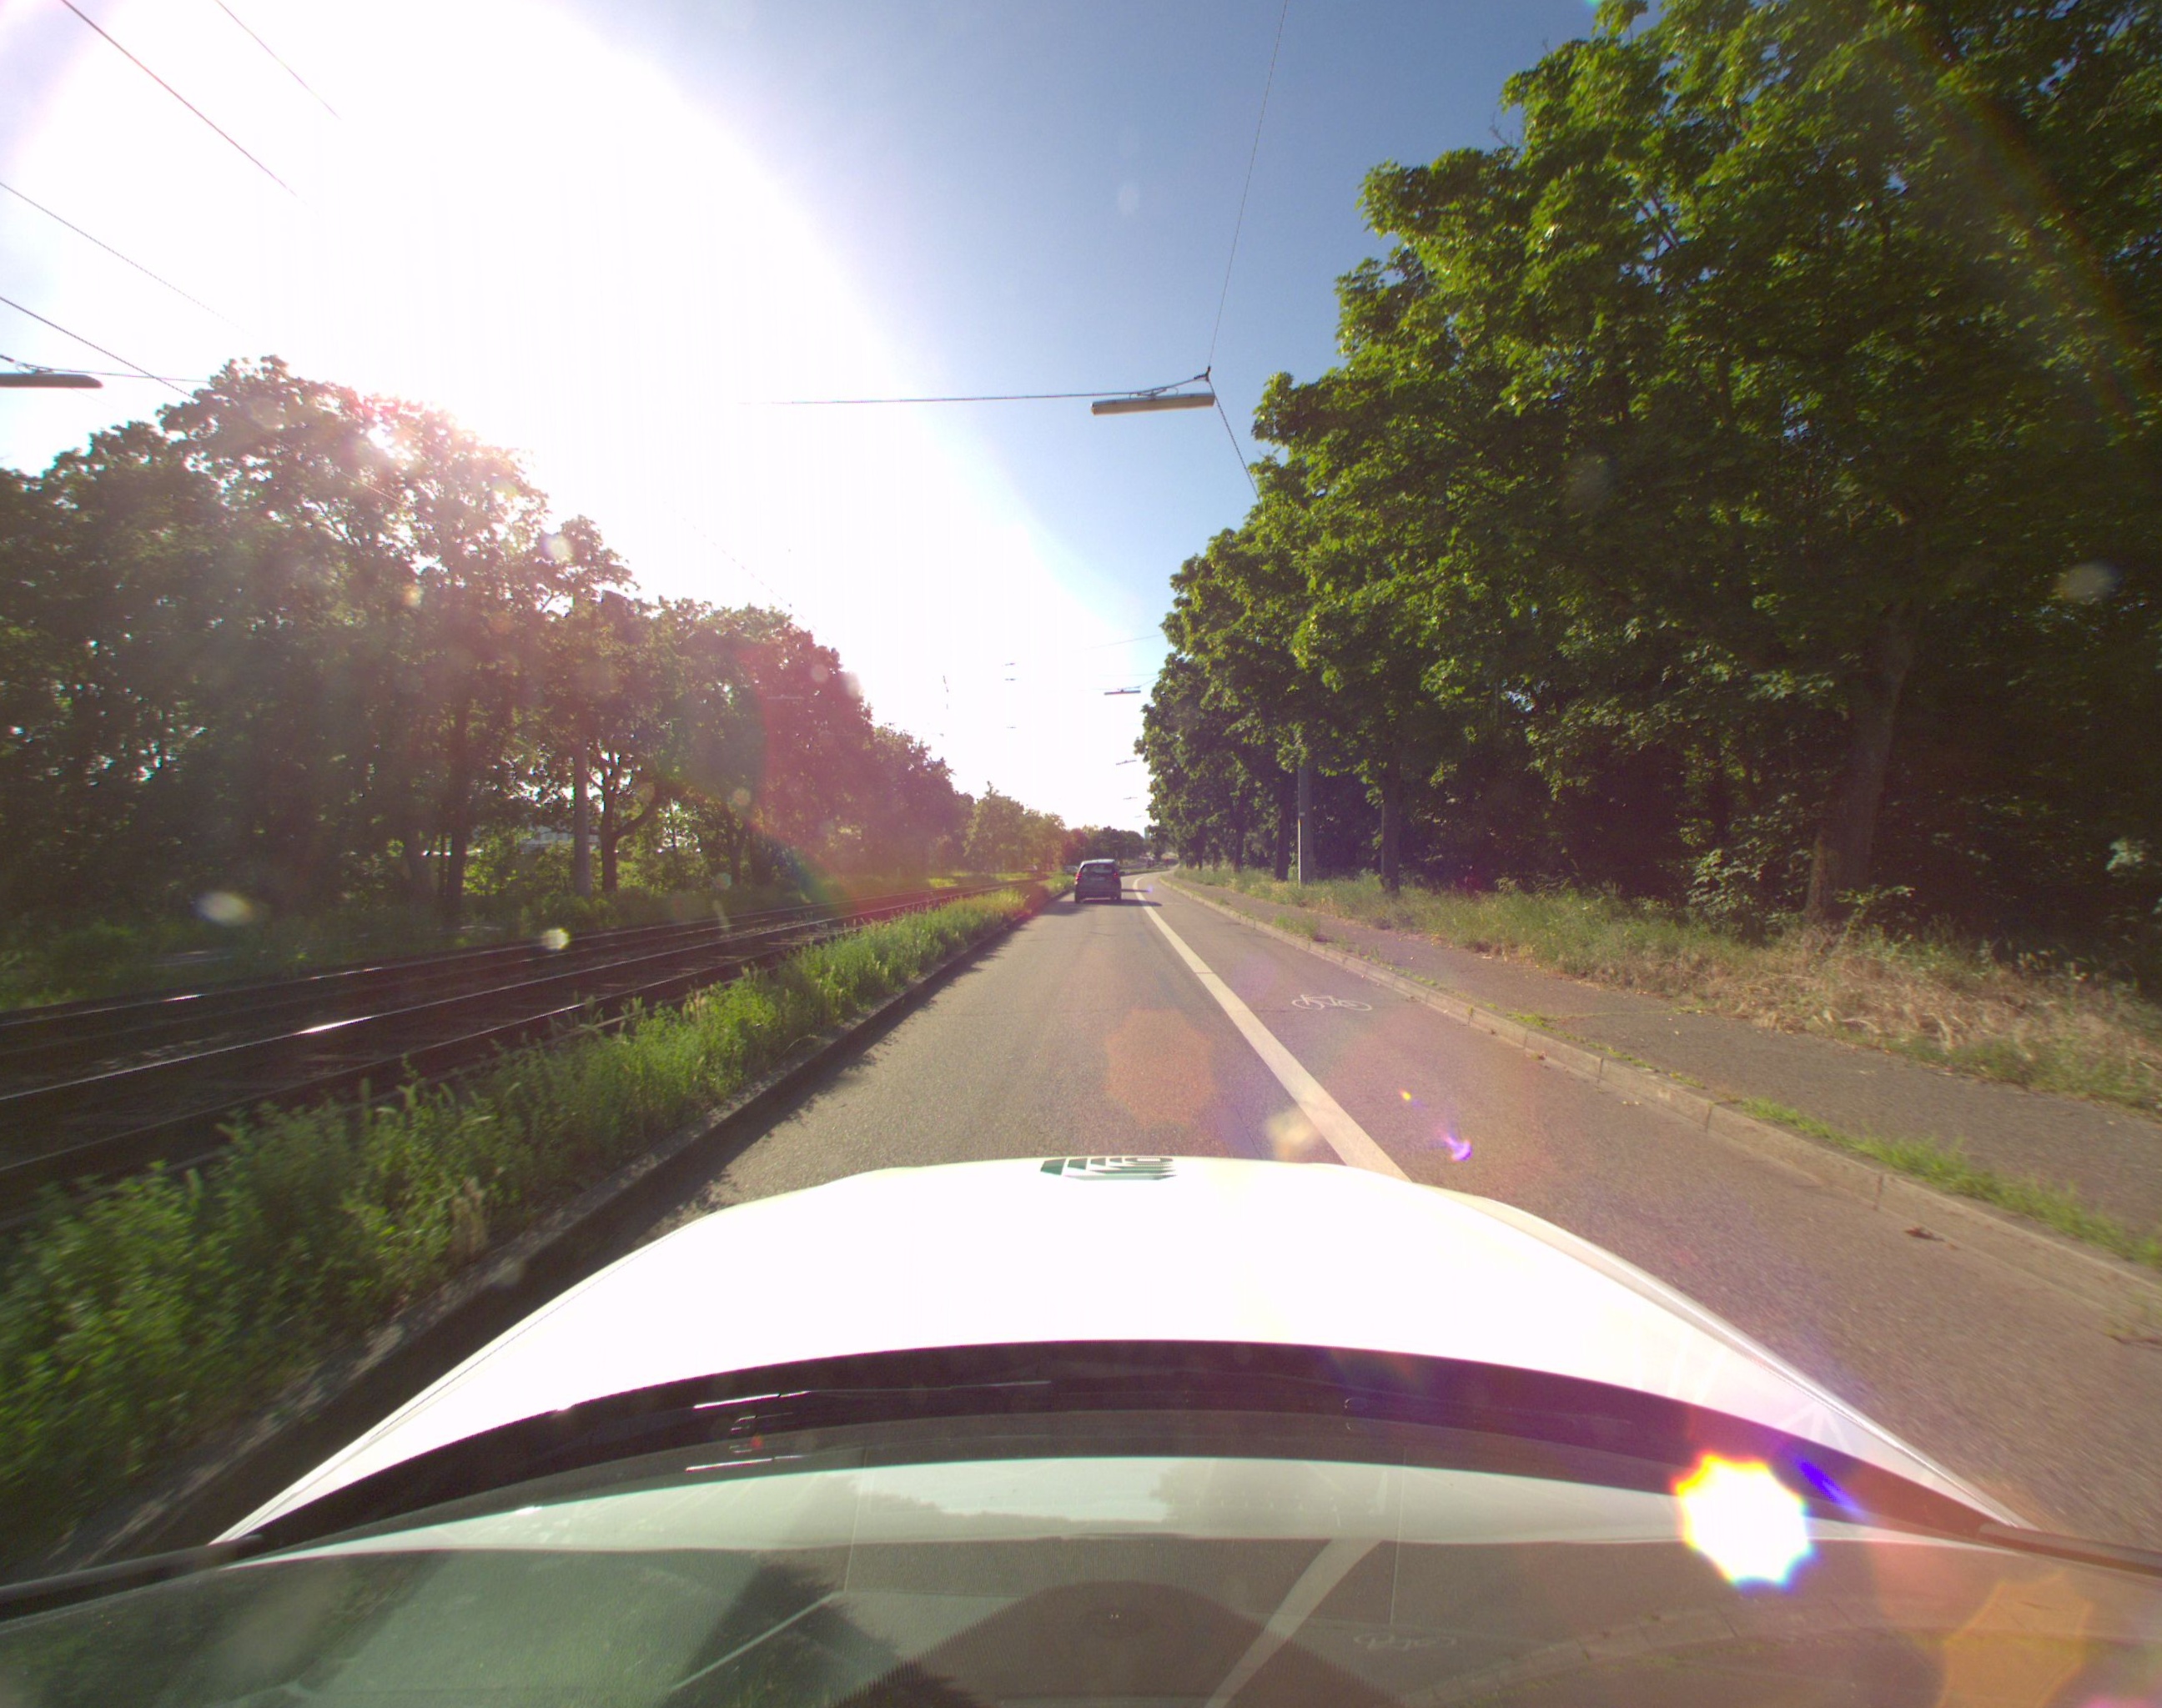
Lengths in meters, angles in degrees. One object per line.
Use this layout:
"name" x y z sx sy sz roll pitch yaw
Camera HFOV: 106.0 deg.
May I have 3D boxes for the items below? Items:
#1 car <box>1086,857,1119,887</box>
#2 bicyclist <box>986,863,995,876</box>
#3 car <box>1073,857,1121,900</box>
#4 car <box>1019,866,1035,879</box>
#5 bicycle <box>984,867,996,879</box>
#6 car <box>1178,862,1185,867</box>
"car" 1.160 0.921 42.526 1.648 1.507 3.812 0 0 2
"bicyclist" -10.500 1.822 94.667 0.786 1.489 1.110 0 2 4
"car" 0.621 0.872 30.196 1.663 1.508 3.812 0 -1 2
"car" -8.479 2.872 128.985 1.984 1.875 4.006 0 2 4
"bicycle" -10.519 2.159 94.491 0.785 1.195 3.173 0 2 5
"car" 30.501 3.206 247.900 1.643 1.313 3.826 1 2 14
